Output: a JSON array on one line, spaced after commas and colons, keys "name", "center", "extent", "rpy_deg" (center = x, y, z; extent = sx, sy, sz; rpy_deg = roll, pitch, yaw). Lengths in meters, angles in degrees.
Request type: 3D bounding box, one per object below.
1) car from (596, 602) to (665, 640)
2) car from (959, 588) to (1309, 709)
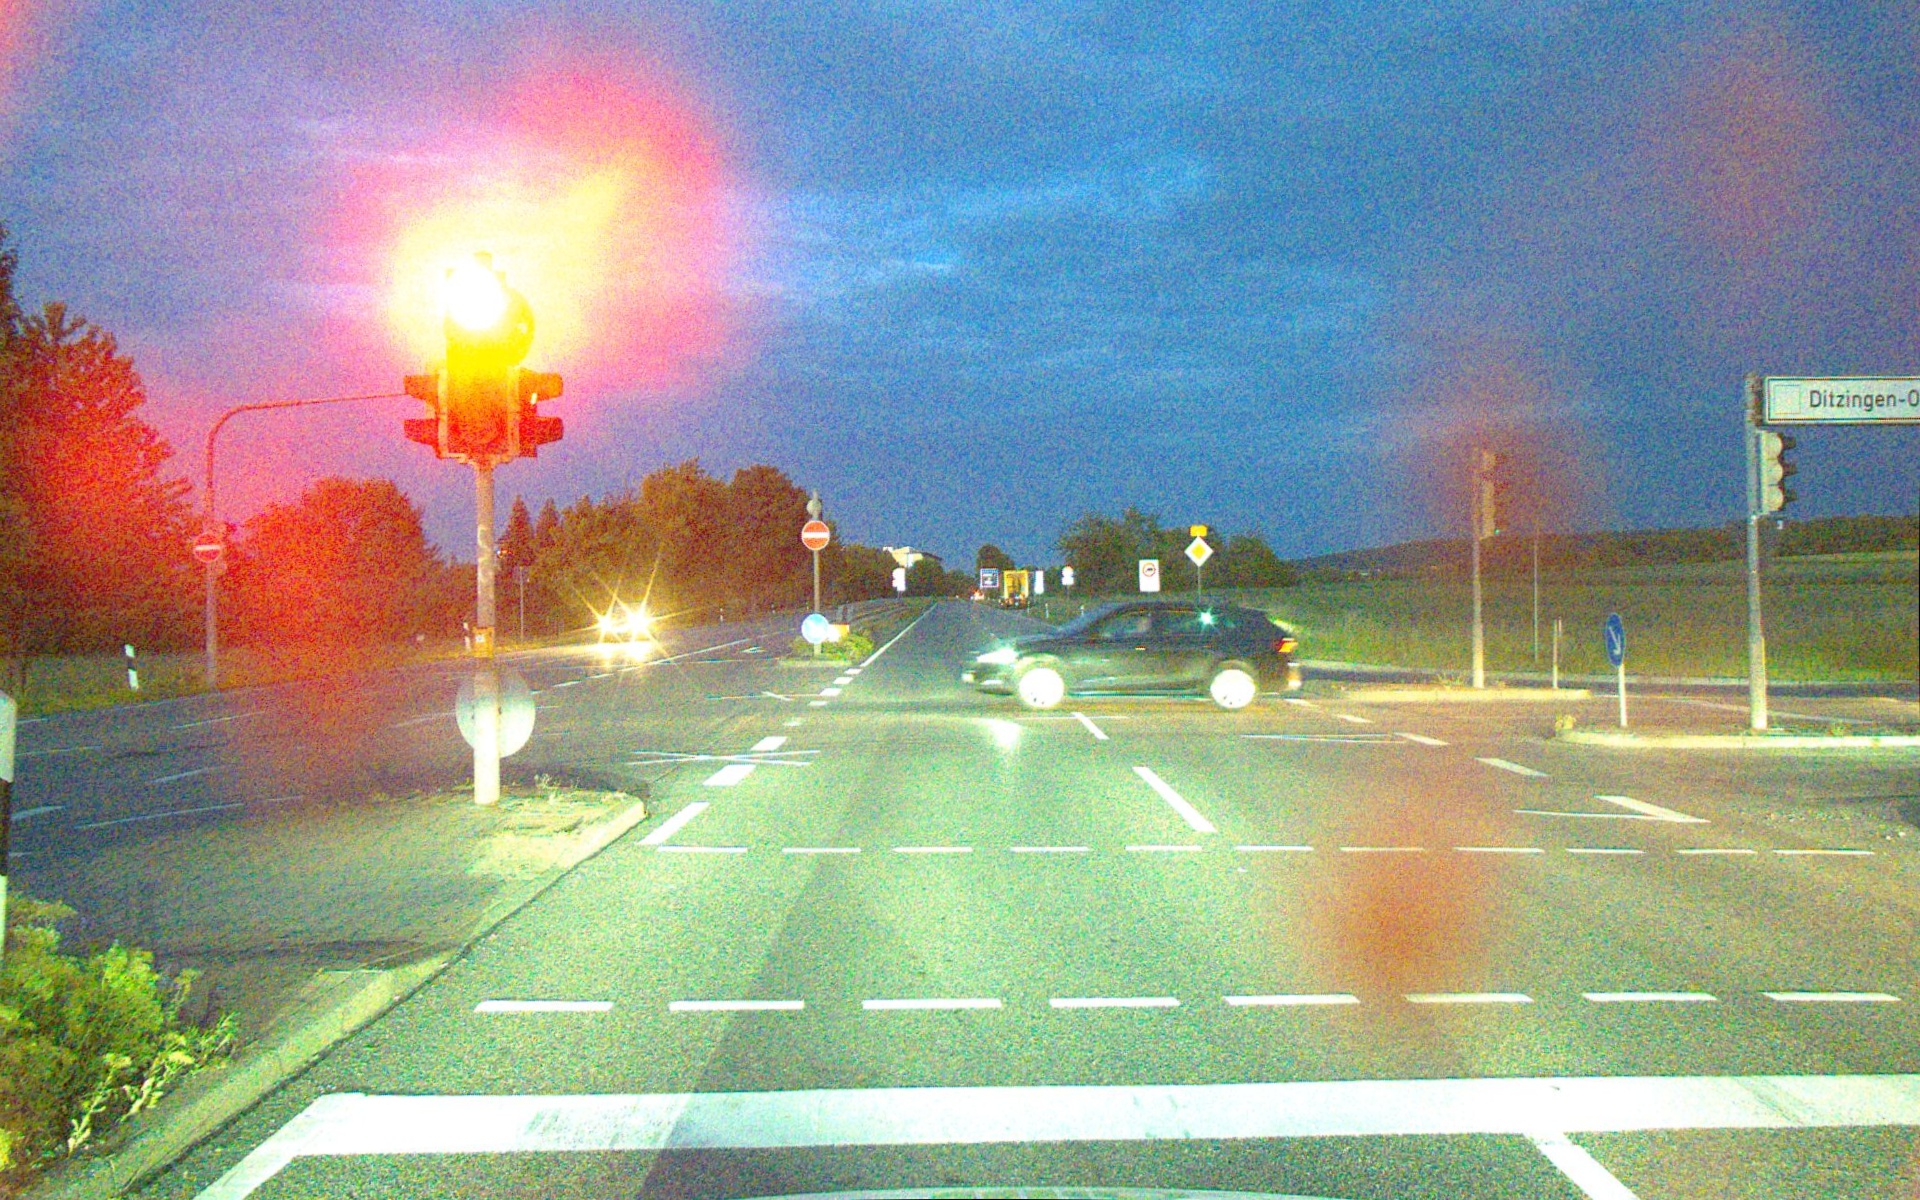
[{"name": "car", "center": [-12.956, 0.811, 65.244], "extent": [1.953, 1.411, 3.999], "rpy_deg": [-1, 0, -1]}, {"name": "car", "center": [2.332, 0.649, 22.941], "extent": [4.512, 1.547, 1.997], "rpy_deg": [1, 0, -6]}]
